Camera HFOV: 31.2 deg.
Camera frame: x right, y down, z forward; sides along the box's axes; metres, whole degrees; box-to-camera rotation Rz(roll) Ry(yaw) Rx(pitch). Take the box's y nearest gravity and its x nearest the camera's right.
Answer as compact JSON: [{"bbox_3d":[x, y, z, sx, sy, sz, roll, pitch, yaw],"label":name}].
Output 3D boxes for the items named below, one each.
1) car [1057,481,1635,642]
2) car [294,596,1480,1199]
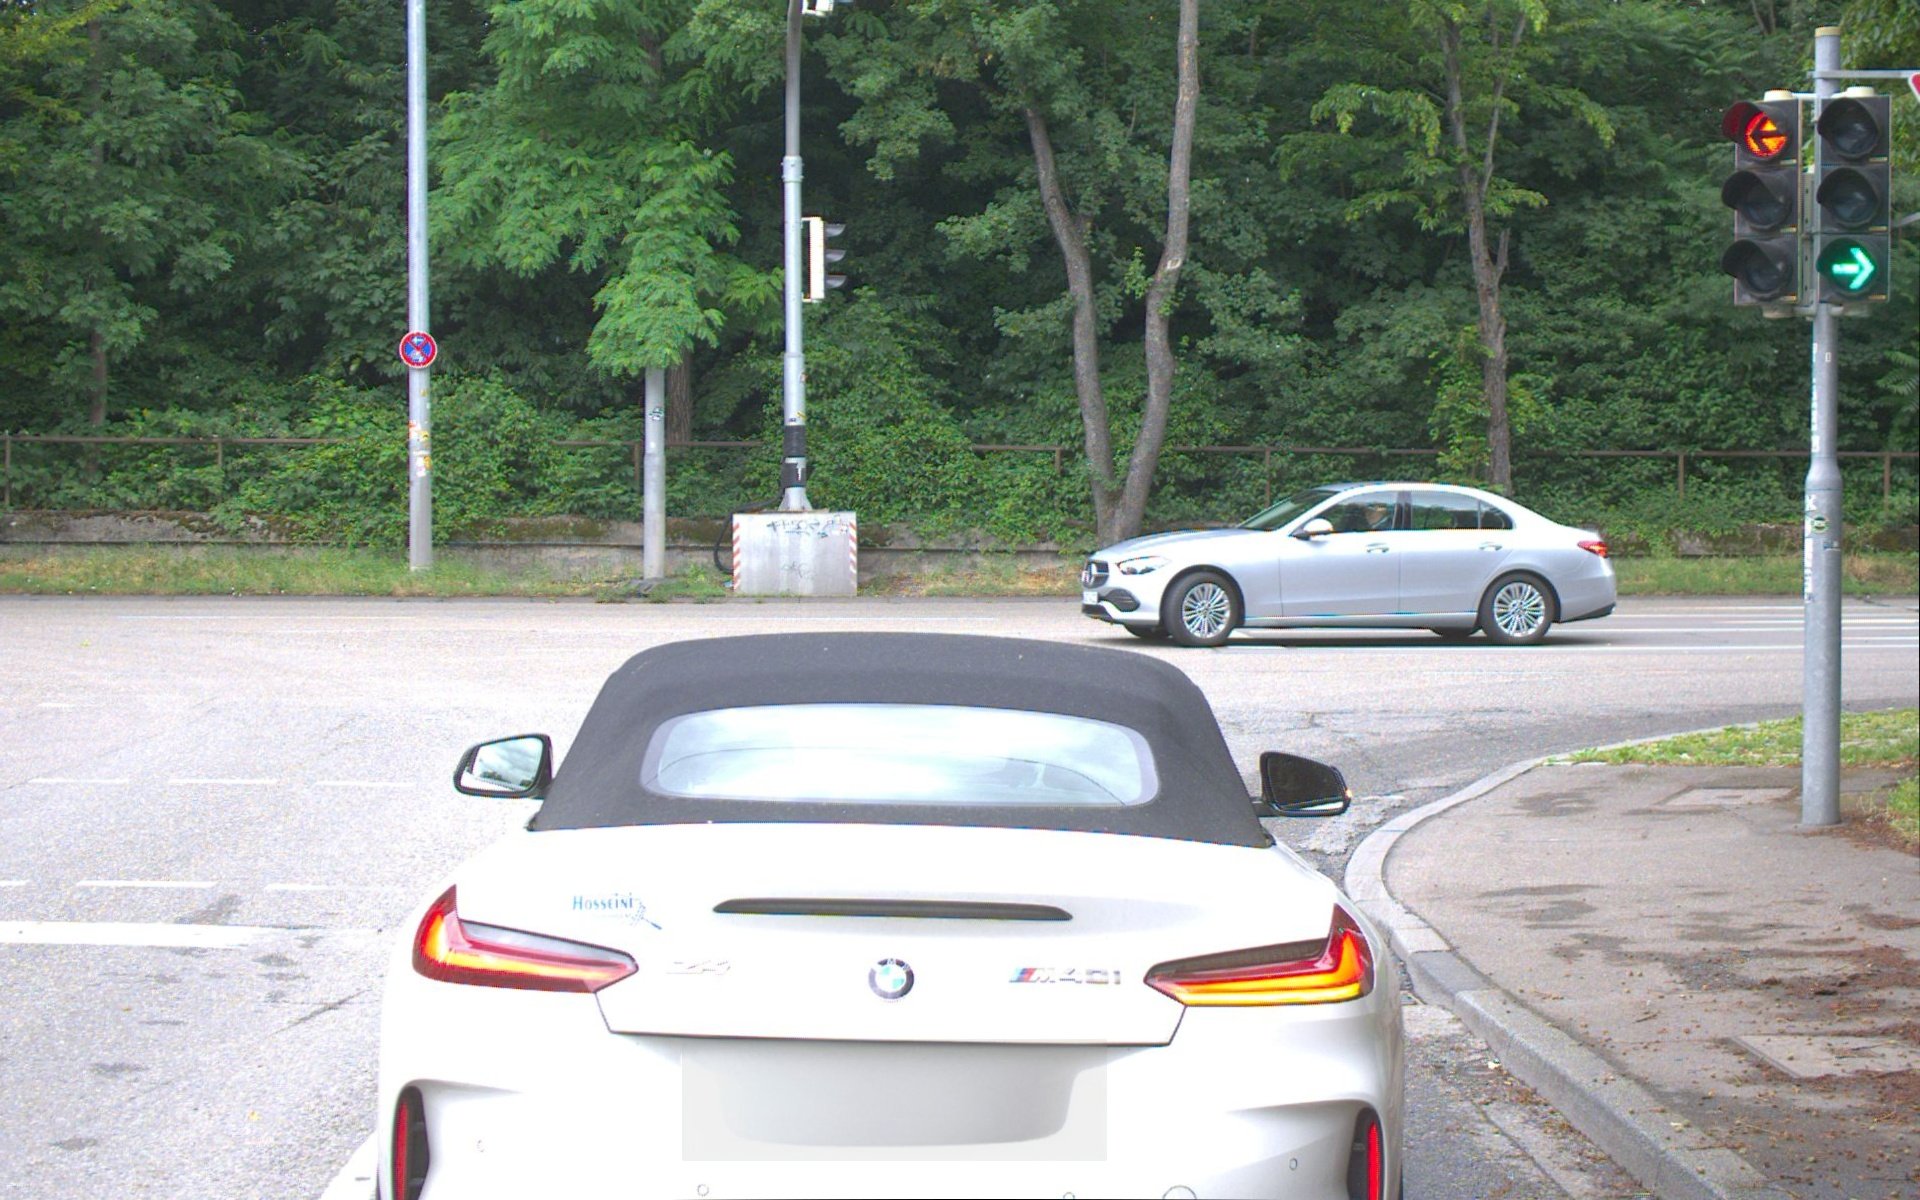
[{"bbox_3d":[3.380,-0.360,30.476,4.750,1.329,1.834,0,3,-10],"label":"car"},{"bbox_3d":[-0.202,0.666,7.359,1.827,1.253,4.000,1,-1,-3],"label":"car"}]
